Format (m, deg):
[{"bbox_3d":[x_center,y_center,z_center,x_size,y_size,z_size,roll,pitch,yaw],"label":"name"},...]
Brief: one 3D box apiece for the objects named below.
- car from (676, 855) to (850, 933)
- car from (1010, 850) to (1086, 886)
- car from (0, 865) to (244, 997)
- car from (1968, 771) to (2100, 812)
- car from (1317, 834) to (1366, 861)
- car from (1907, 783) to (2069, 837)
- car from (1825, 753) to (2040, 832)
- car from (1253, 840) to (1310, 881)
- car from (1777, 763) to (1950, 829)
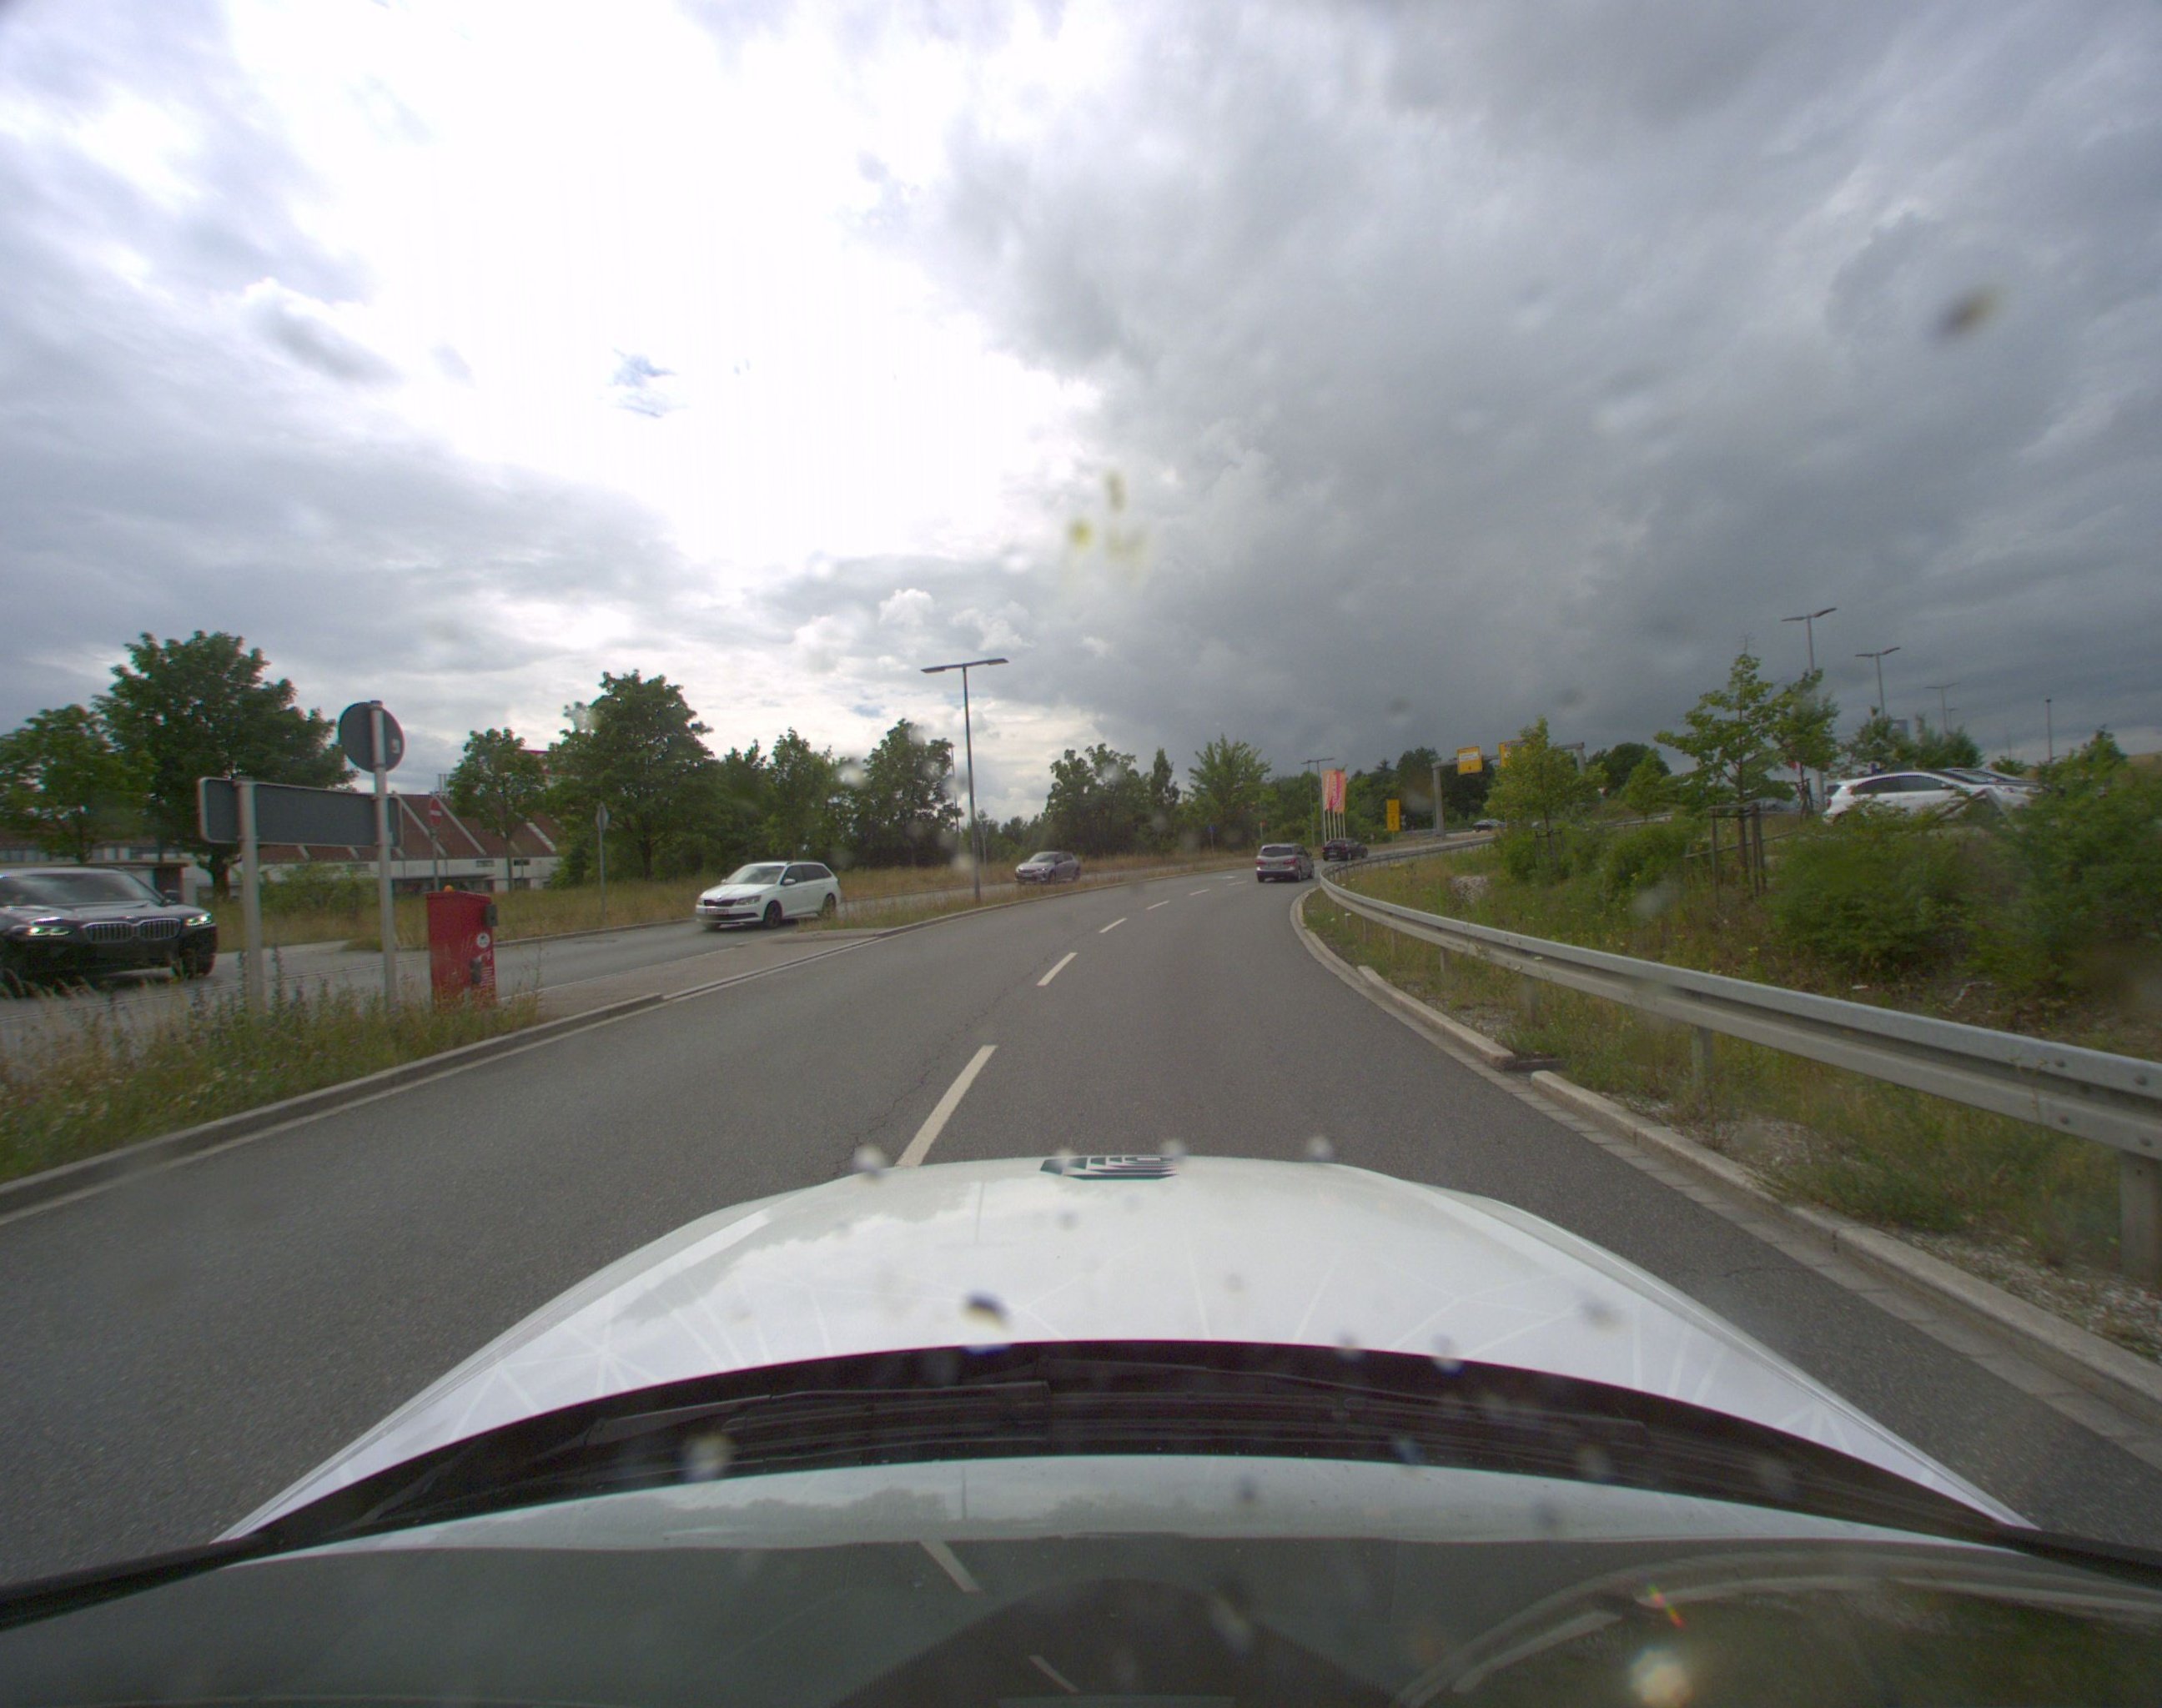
[{"bbox_3d":[-7.344,0.858,19.327,1.703,1.634,4.282,-1,0,13],"label":"car"},{"bbox_3d":[-1.446,0.624,37.255,1.445,1.486,4.121,-2,-1,30],"label":"car"},{"bbox_3d":[-14.193,1.011,11.469,4.204,1.550,1.884,-2,-1,22],"label":"car"},{"bbox_3d":[45.693,-2.973,39.128,1.603,1.389,3.922,-4,-2,-37],"label":"car"},{"bbox_3d":[16.909,-0.433,52.803,1.851,1.605,3.759,-3,0,37],"label":"car"},{"bbox_3d":[33.737,-1.596,30.383,1.730,1.534,3.850,-2,-2,-39],"label":"car"},{"bbox_3d":[21.952,-1.528,21.122,1.652,1.538,3.587,-4,-2,-37],"label":"car"},{"bbox_3d":[8.625,0.318,34.799,1.752,1.617,3.942,-1,-2,22],"label":"car"},{"bbox_3d":[23.213,-1.675,24.246,1.739,1.635,3.408,-3,0,-36],"label":"car"}]
